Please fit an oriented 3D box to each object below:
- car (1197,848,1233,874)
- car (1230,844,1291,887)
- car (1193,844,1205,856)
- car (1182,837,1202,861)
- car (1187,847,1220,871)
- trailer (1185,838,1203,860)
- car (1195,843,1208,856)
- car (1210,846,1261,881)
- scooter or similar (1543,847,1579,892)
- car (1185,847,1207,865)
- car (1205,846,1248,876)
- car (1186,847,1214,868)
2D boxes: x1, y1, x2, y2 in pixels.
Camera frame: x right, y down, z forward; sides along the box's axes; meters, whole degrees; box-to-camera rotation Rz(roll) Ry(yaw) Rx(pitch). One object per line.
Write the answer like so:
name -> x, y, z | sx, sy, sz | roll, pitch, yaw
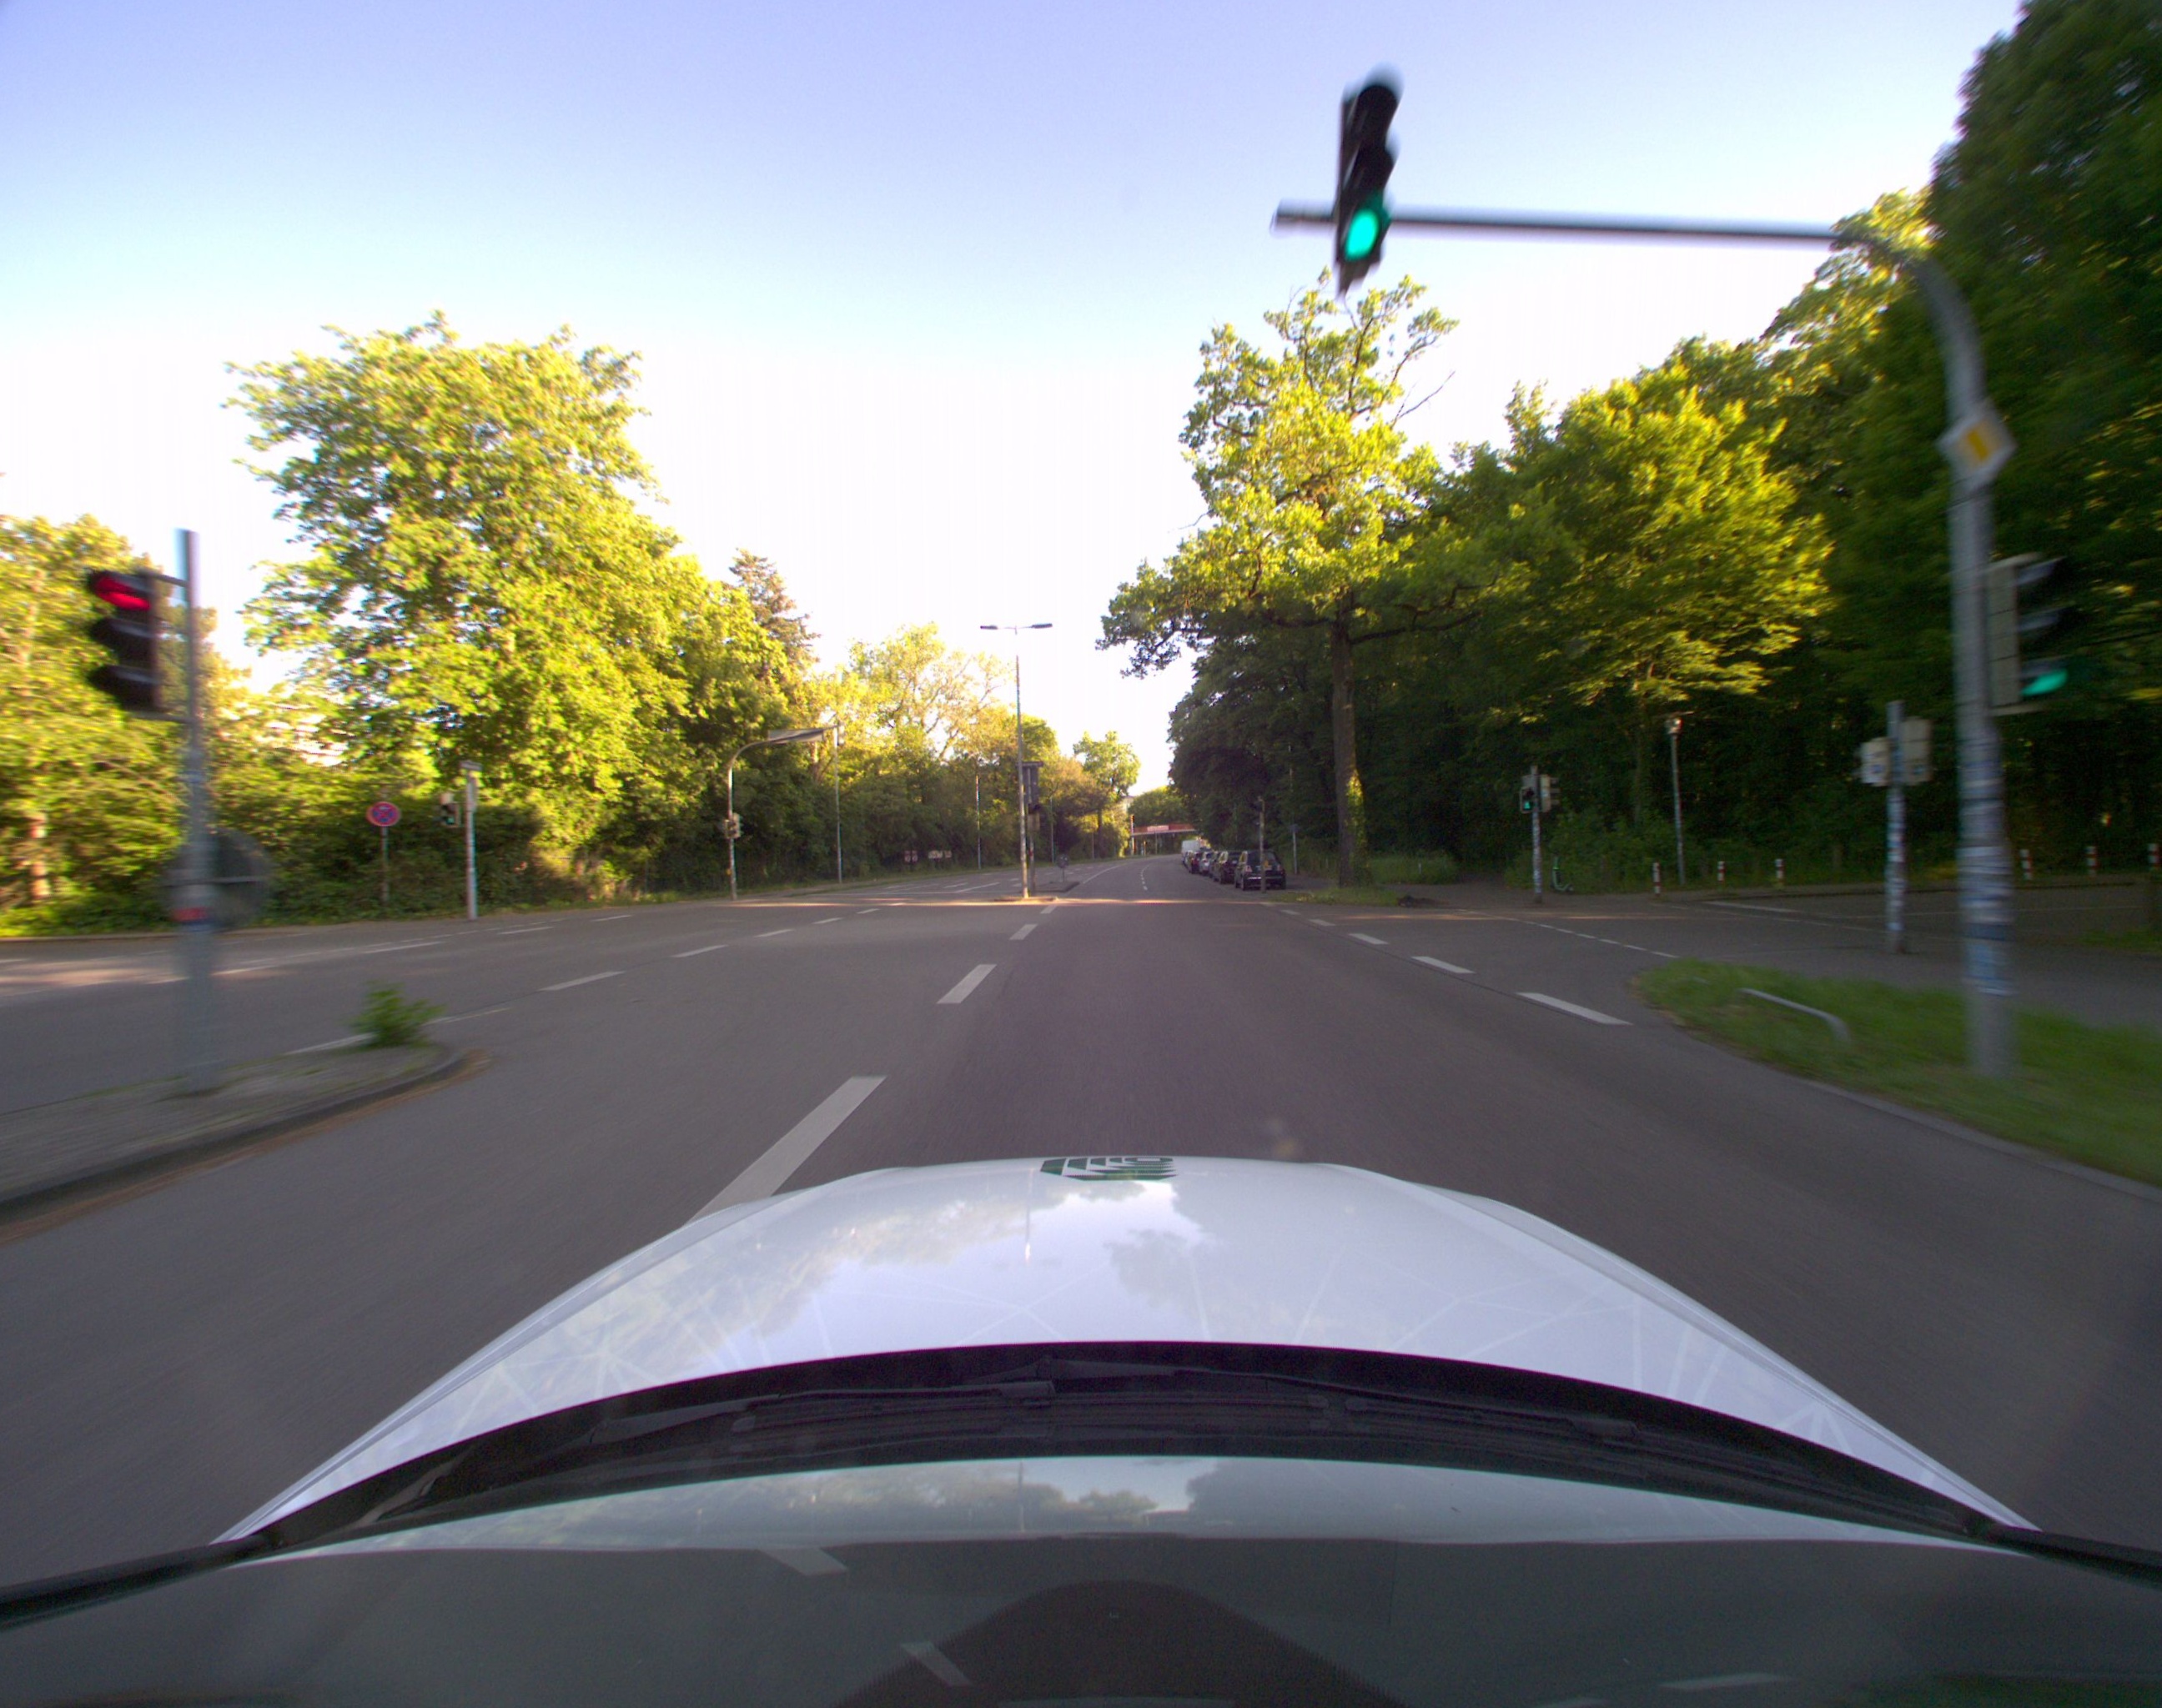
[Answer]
car -> 7.984, 0.419, 48.772 | 1.710, 1.411, 4.128 | -3, 0, 4
car -> 6.857, 0.428, 31.496 | 1.710, 1.469, 3.760 | -3, 0, 4
car -> 17.734, -0.585, 122.302 | 1.748, 1.804, 4.749 | -3, 0, 9
car -> 11.924, -0.493, 87.425 | 1.893, 2.423, 5.589 | -3, 0, 8
car -> 8.028, 0.309, 53.727 | 1.710, 1.411, 4.492 | -3, 0, 4
trailer -> 13.045, -0.559, 94.135 | 1.893, 2.423, 5.139 | -3, 0, 8
car -> 19.915, -0.795, 134.801 | 1.857, 1.981, 5.491 | -3, 0, 11
car -> 7.137, 0.409, 38.016 | 1.710, 1.469, 4.992 | -3, 0, 4
scooter or similar -> 12.833, 0.399, 21.784 | 0.376, 1.144, 1.226 | -2, 0, 9
car -> 9.826, 0.146, 69.893 | 1.669, 1.464, 3.696 | -3, 0, 6
car -> 7.733, 0.353, 43.571 | 1.710, 1.469, 4.206 | -3, 0, 4
car -> 8.597, 0.231, 59.097 | 1.710, 1.411, 4.494 | -3, 0, 5
